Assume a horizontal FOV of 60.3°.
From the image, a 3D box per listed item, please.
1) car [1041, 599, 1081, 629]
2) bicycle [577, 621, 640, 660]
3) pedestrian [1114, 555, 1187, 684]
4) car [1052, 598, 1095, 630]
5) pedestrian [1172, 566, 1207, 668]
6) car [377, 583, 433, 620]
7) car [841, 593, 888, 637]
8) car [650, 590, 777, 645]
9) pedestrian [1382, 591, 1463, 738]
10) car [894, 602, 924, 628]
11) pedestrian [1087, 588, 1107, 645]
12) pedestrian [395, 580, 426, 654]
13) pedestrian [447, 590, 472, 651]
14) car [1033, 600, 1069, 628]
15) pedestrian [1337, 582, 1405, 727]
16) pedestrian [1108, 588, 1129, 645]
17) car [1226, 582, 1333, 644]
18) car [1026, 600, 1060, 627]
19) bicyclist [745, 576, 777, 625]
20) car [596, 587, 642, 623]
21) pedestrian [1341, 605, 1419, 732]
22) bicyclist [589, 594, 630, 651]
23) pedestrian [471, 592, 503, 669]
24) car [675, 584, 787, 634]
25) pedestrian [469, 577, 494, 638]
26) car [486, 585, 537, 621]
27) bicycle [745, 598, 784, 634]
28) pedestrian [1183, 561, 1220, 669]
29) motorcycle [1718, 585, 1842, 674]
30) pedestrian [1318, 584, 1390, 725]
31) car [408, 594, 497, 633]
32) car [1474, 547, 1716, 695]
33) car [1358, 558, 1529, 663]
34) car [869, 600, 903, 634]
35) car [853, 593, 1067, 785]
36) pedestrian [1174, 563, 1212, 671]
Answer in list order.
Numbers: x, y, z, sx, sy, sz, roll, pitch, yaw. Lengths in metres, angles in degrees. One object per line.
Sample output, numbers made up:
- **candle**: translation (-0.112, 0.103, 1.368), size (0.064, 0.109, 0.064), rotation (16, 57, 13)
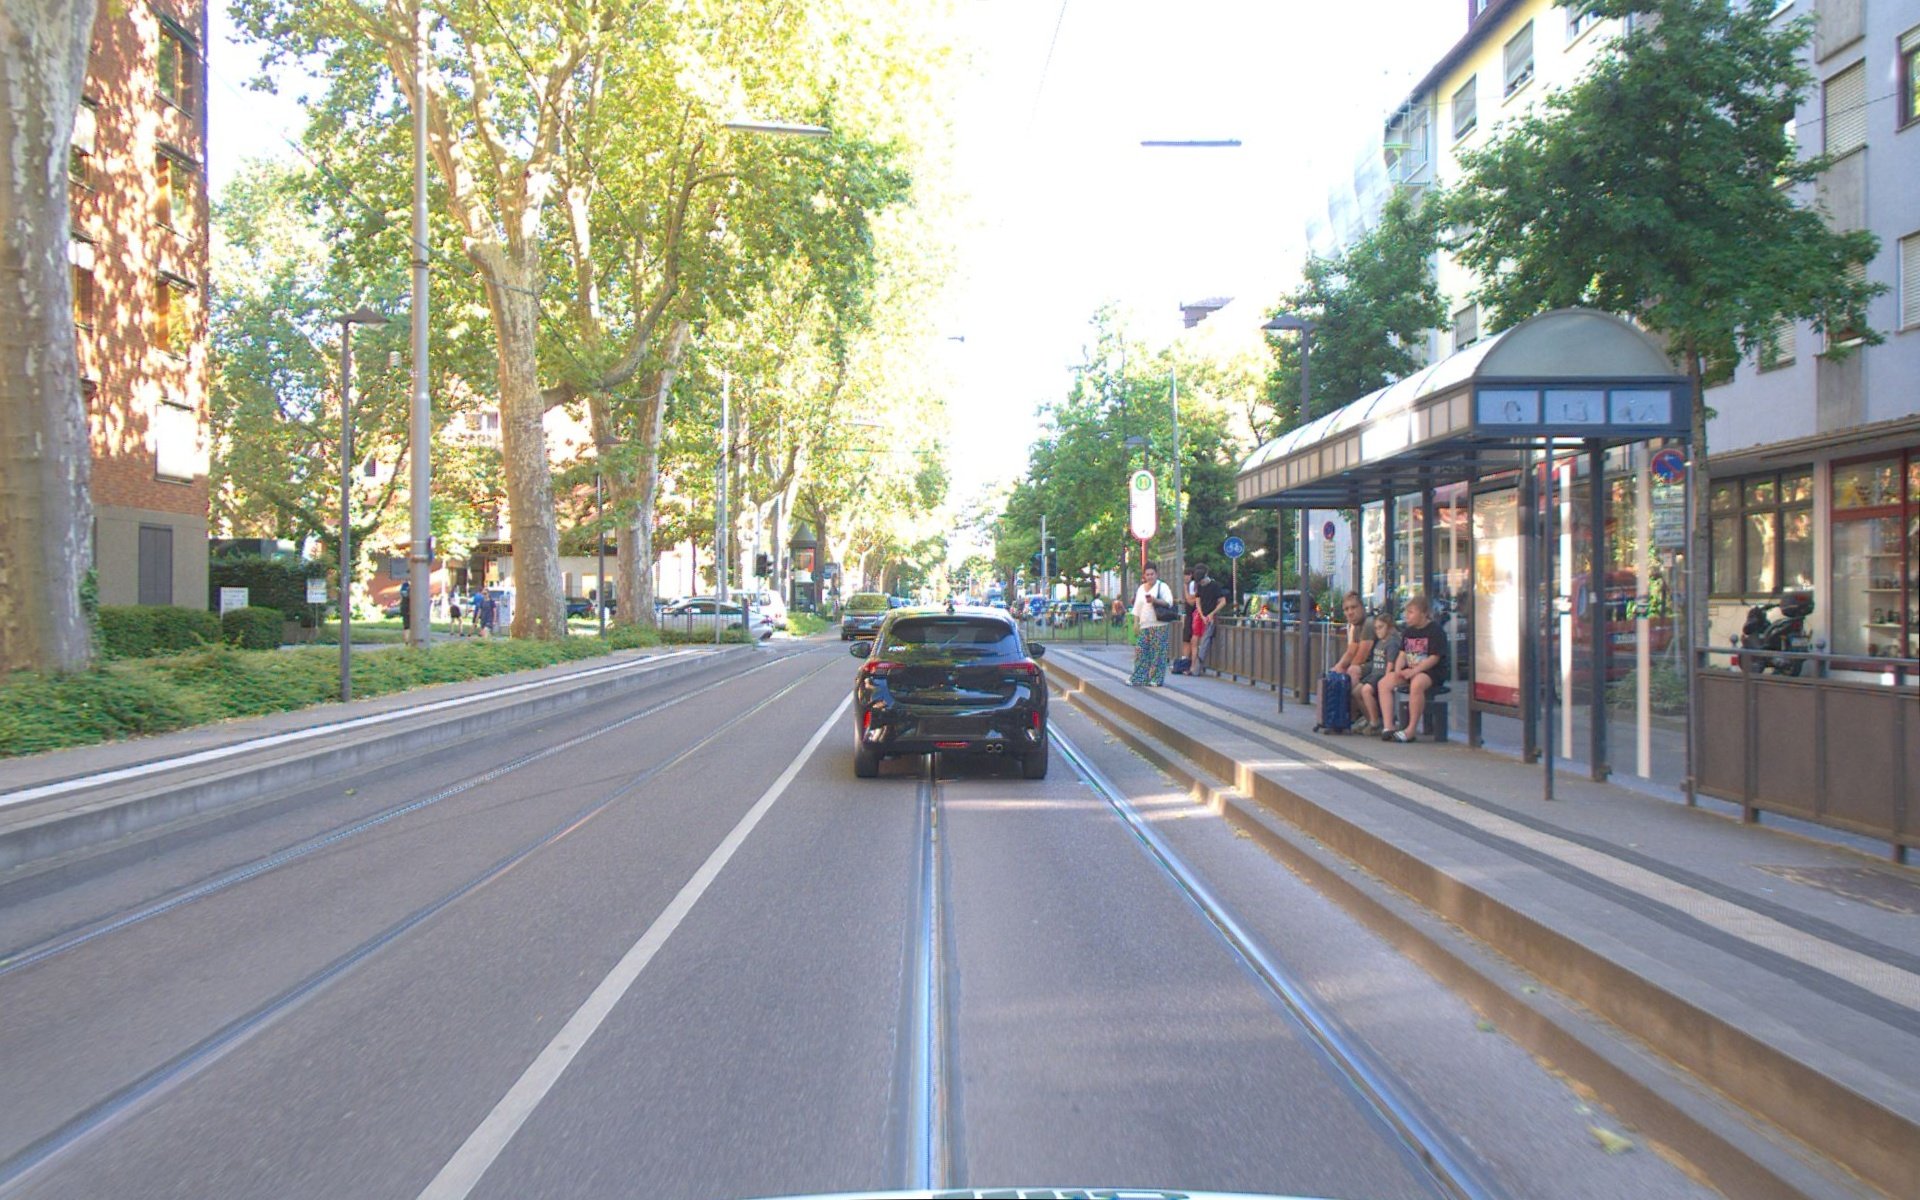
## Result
- **car**: translation (5.774, 0.789, 94.931), size (1.953, 1.661, 3.999), rotation (1, 0, -1)
- **bicycle**: translation (-11.884, 1.355, 56.060), size (0.934, 1.262, 2.980), rotation (1, -1, 12)
- **pedestrian**: translation (2.631, 0.259, 22.820), size (0.736, 1.739, 0.761), rotation (0, -1, 33)
- **car**: translation (6.054, 0.744, 88.442), size (1.953, 1.661, 3.999), rotation (1, 0, -1)
- **pedestrian**: translation (3.946, 0.293, 28.438), size (0.520, 1.739, 0.596), rotation (1, -1, 1)
- **car**: translation (-32.411, 0.095, 96.716), size (1.953, 2.049, 3.999), rotation (1, 0, -1)
- **car**: translation (-3.600, 0.564, 62.940), size (1.710, 1.571, 3.998), rotation (1, 0, -3)
- **car**: translation (-8.107, 0.566, 54.593), size (4.037, 1.731, 1.880), rotation (1, -1, -8)
- **pedestrian**: translation (4.019, 0.551, 14.383), size (0.523, 1.252, 0.510), rotation (1, -1, -5)
- **car**: translation (-3.570, 1.036, 115.170), size (1.954, 1.723, 3.998), rotation (1, 0, -3)
- **pedestrian**: translation (4.961, 0.604, 60.050), size (0.661, 2.049, 0.701), rotation (2, 0, 5)
- **pedestrian**: translation (-14.899, 0.460, 44.858), size (0.486, 1.984, 0.675), rotation (1, -1, 11)
- **pedestrian**: translation (-16.786, 0.683, 55.475), size (0.659, 1.984, 0.497), rotation (2, 0, -4)
- **car**: translation (5.553, 0.835, 101.489), size (1.953, 1.661, 3.999), rotation (1, 0, -1)
- **pedestrian**: translation (3.821, 0.506, 15.407), size (0.493, 1.327, 0.428), rotation (1, -1, -5)
- **pedestrian**: translation (5.720, 0.585, 59.694), size (0.661, 2.049, 0.702), rotation (2, 0, 11)
- **car**: translation (8.296, 0.332, 43.248), size (1.953, 1.512, 3.999), rotation (1, 0, -1)
- **car**: translation (5.389, 0.879, 107.781), size (1.953, 1.661, 3.999), rotation (1, 0, -1)
- **bicyclist**: translation (-7.085, 0.030, 58.884), size (0.921, 1.733, 1.153), rotation (1, -1, 2)
- **car**: translation (-20.144, 0.287, 97.794), size (1.953, 2.049, 3.999), rotation (1, 0, -1)
- **pedestrian**: translation (3.776, 0.607, 14.892), size (0.523, 1.119, 0.550), rotation (1, -1, -5)
- **bicyclist**: translation (-11.885, 0.755, 56.074), size (0.934, 1.910, 1.207), rotation (1, -1, 12)
- **pedestrian**: translation (-12.272, 0.779, 42.908), size (0.658, 1.984, 0.498), rotation (1, -1, -1)
- **car**: translation (-9.021, 0.353, 65.286), size (4.303, 1.884, 1.996), rotation (1, -1, -8)
- **pedestrian**: translation (-15.819, 0.241, 54.675), size (0.659, 1.984, 0.497), rotation (2, 0, -4)
- **car**: translation (-26.449, 0.197, 97.721), size (1.953, 2.049, 3.999), rotation (1, 0, -1)
- **bicycle**: translation (-7.063, 0.591, 59.791), size (0.935, 1.262, 2.978), rotation (1, 0, 2)
- **pedestrian**: translation (4.054, 0.252, 27.733), size (0.520, 1.793, 0.661), rotation (1, -1, 1)
- **motorcycle**: translation (12.522, 0.438, 25.332), size (0.874, 1.302, 2.042), rotation (1, -1, -1)
- **pedestrian**: translation (3.782, 0.518, 15.898), size (0.523, 1.327, 0.550), rotation (1, -1, -5)
- **car**: translation (-27.366, 0.740, 89.251), size (4.164, 2.049, 1.999), rotation (1, -1, -1)
- **car**: translation (9.289, 0.302, 24.553), size (1.953, 1.986, 3.998), rotation (1, 0, -2)
- **car**: translation (9.045, 0.205, 31.297), size (1.953, 1.829, 3.998), rotation (1, 0, -2)
- **car**: translation (-3.879, 0.863, 86.941), size (1.749, 1.723, 3.998), rotation (1, 0, -3)
- **car**: translation (-0.098, 0.731, 15.228), size (1.725, 1.534, 3.680), rotation (-1, 0, -3)
- **pedestrian**: translation (3.804, 0.275, 27.007), size (0.520, 1.739, 0.752), rotation (1, -1, 1)
